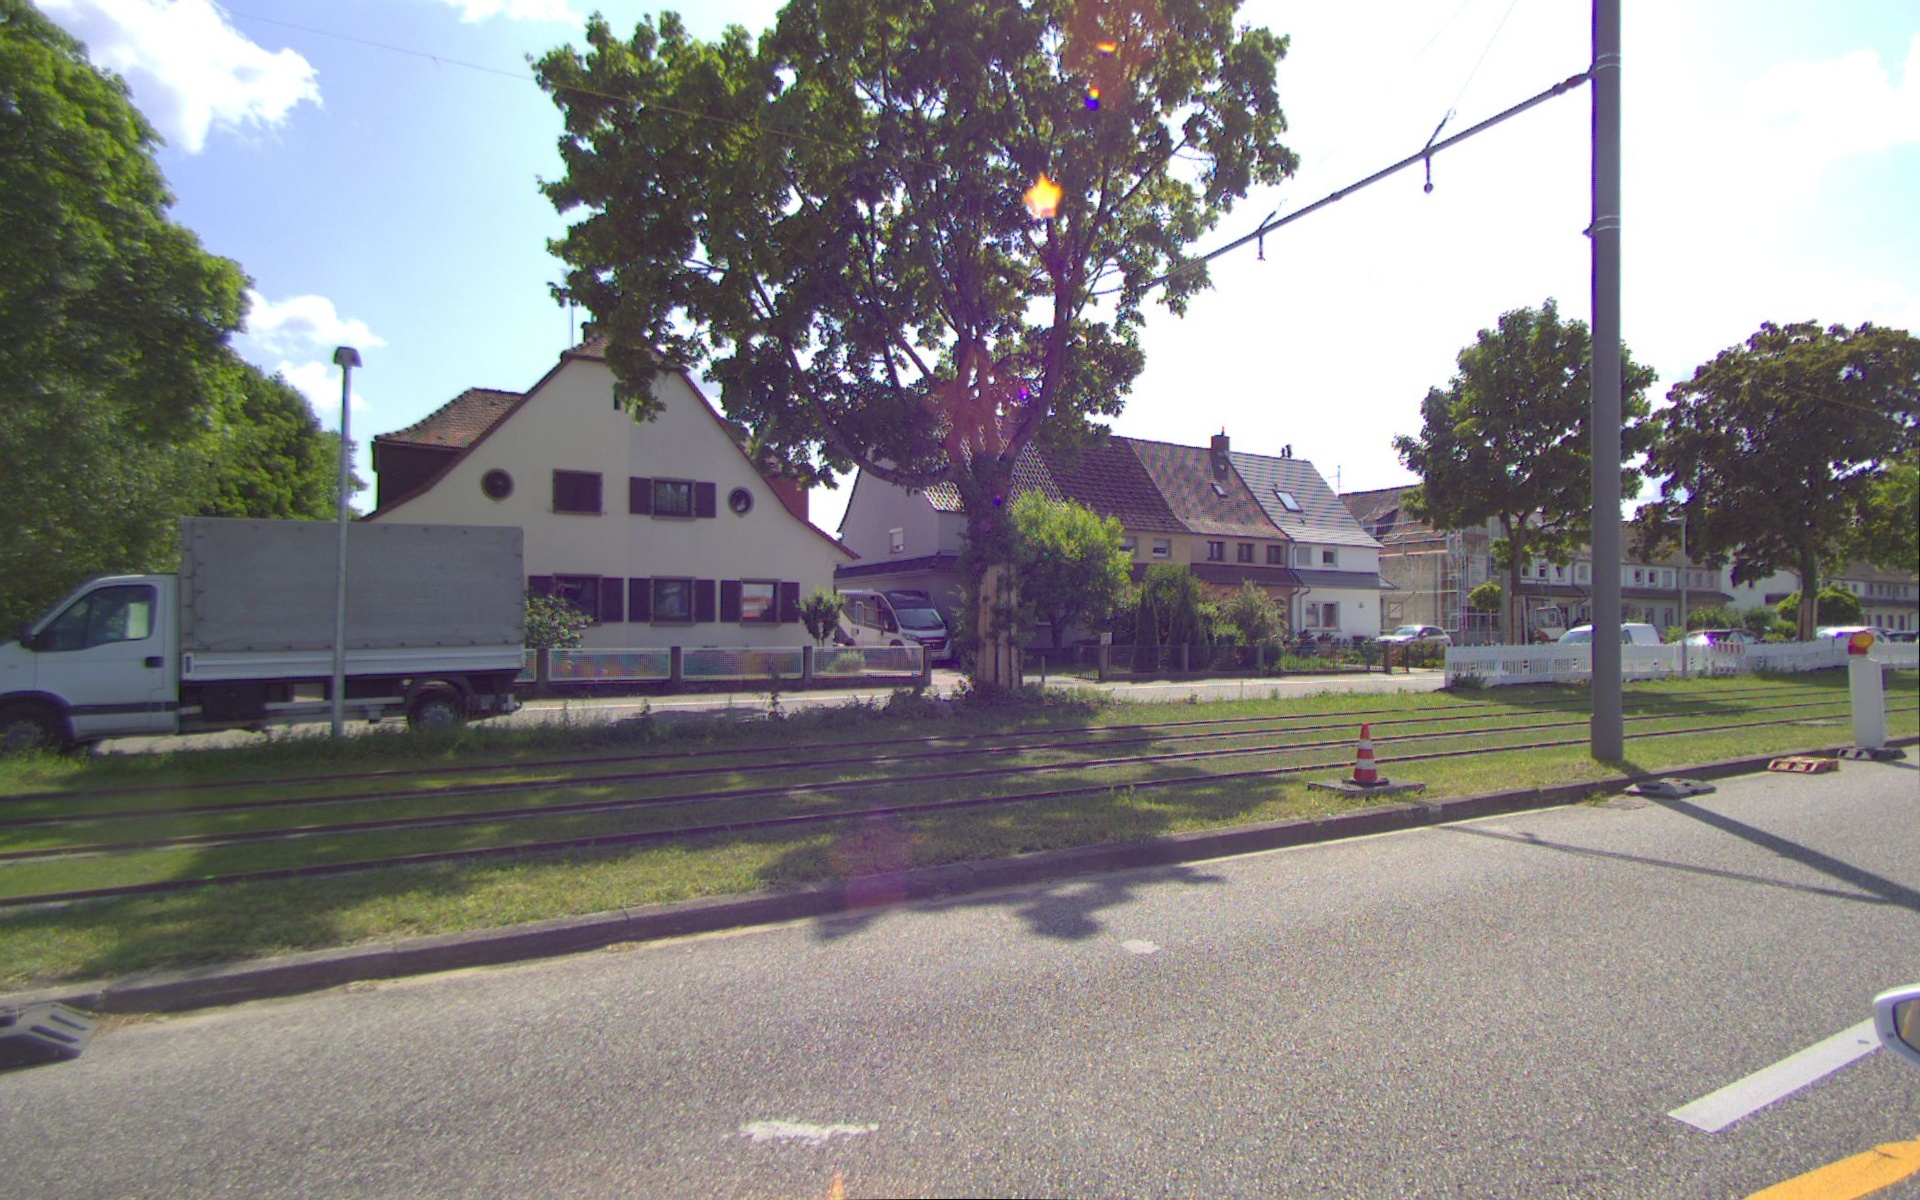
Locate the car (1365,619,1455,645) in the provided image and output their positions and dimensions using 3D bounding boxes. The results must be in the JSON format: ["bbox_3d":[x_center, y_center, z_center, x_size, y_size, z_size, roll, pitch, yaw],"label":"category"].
[{"bbox_3d":[19.878,1.436,44.350,3.934,1.066,1.677,2,-3,-30],"label":"car"}]

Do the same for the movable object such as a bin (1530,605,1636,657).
[{"bbox_3d":[30.847,1.528,49.776,4.283,2.482,1.781,-1,-2,39],"label":"movable object such as a bin"}]

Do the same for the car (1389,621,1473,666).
[{"bbox_3d":[18.826,1.746,40.150,2.995,1.744,1.677,2,-3,-30],"label":"car"}]

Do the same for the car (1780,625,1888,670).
[{"bbox_3d":[33.729,1.836,38.748,3.953,1.627,1.984,2,-3,-30],"label":"car"}]

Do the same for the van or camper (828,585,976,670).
[{"bbox_3d":[-2.248,0.898,36.659,2.672,2.675,6.055,2,1,-33],"label":"van or camper"}]

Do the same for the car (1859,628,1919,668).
[{"bbox_3d":[40.223,2.042,42.608,3.953,1.627,1.984,2,-3,-30],"label":"car"}]

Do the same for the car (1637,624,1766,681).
[{"bbox_3d":[24.198,1.703,32.763,3.953,1.772,1.984,2,-3,-30],"label":"car"}]

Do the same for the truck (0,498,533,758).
[{"bbox_3d":[-8.917,0.390,12.836,6.203,2.803,1.985,1,-4,-31],"label":"truck"}]

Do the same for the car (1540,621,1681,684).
[{"bbox_3d":[19.523,1.577,30.116,3.953,1.772,1.984,2,-3,-30],"label":"car"}]
